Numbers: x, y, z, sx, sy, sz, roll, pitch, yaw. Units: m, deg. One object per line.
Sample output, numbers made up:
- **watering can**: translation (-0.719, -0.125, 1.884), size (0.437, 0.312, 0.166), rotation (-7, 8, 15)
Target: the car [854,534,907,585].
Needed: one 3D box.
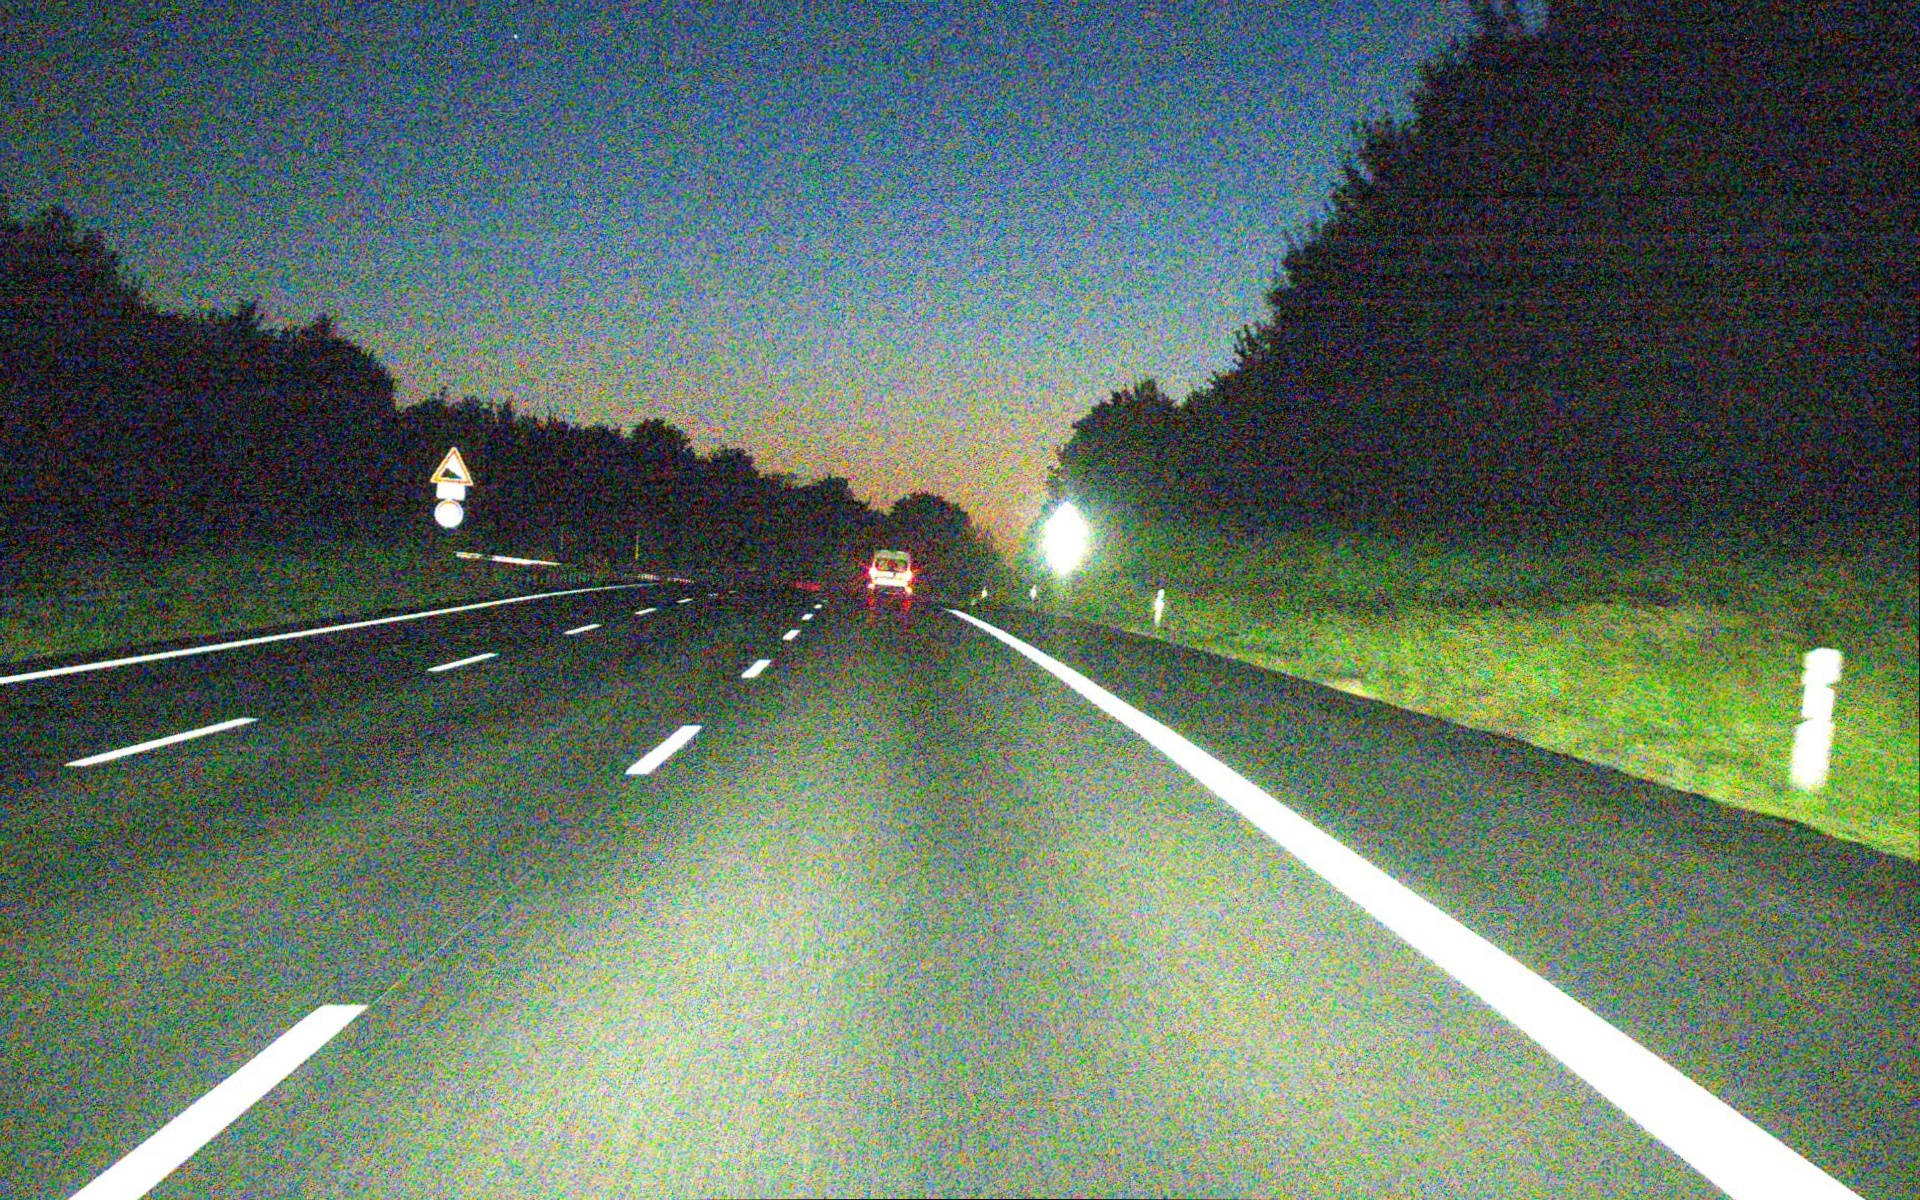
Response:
- **car**: translation (-4.141, -2.118, 180.439), size (2.527, 2.544, 6.051), rotation (2, 1, 0)
